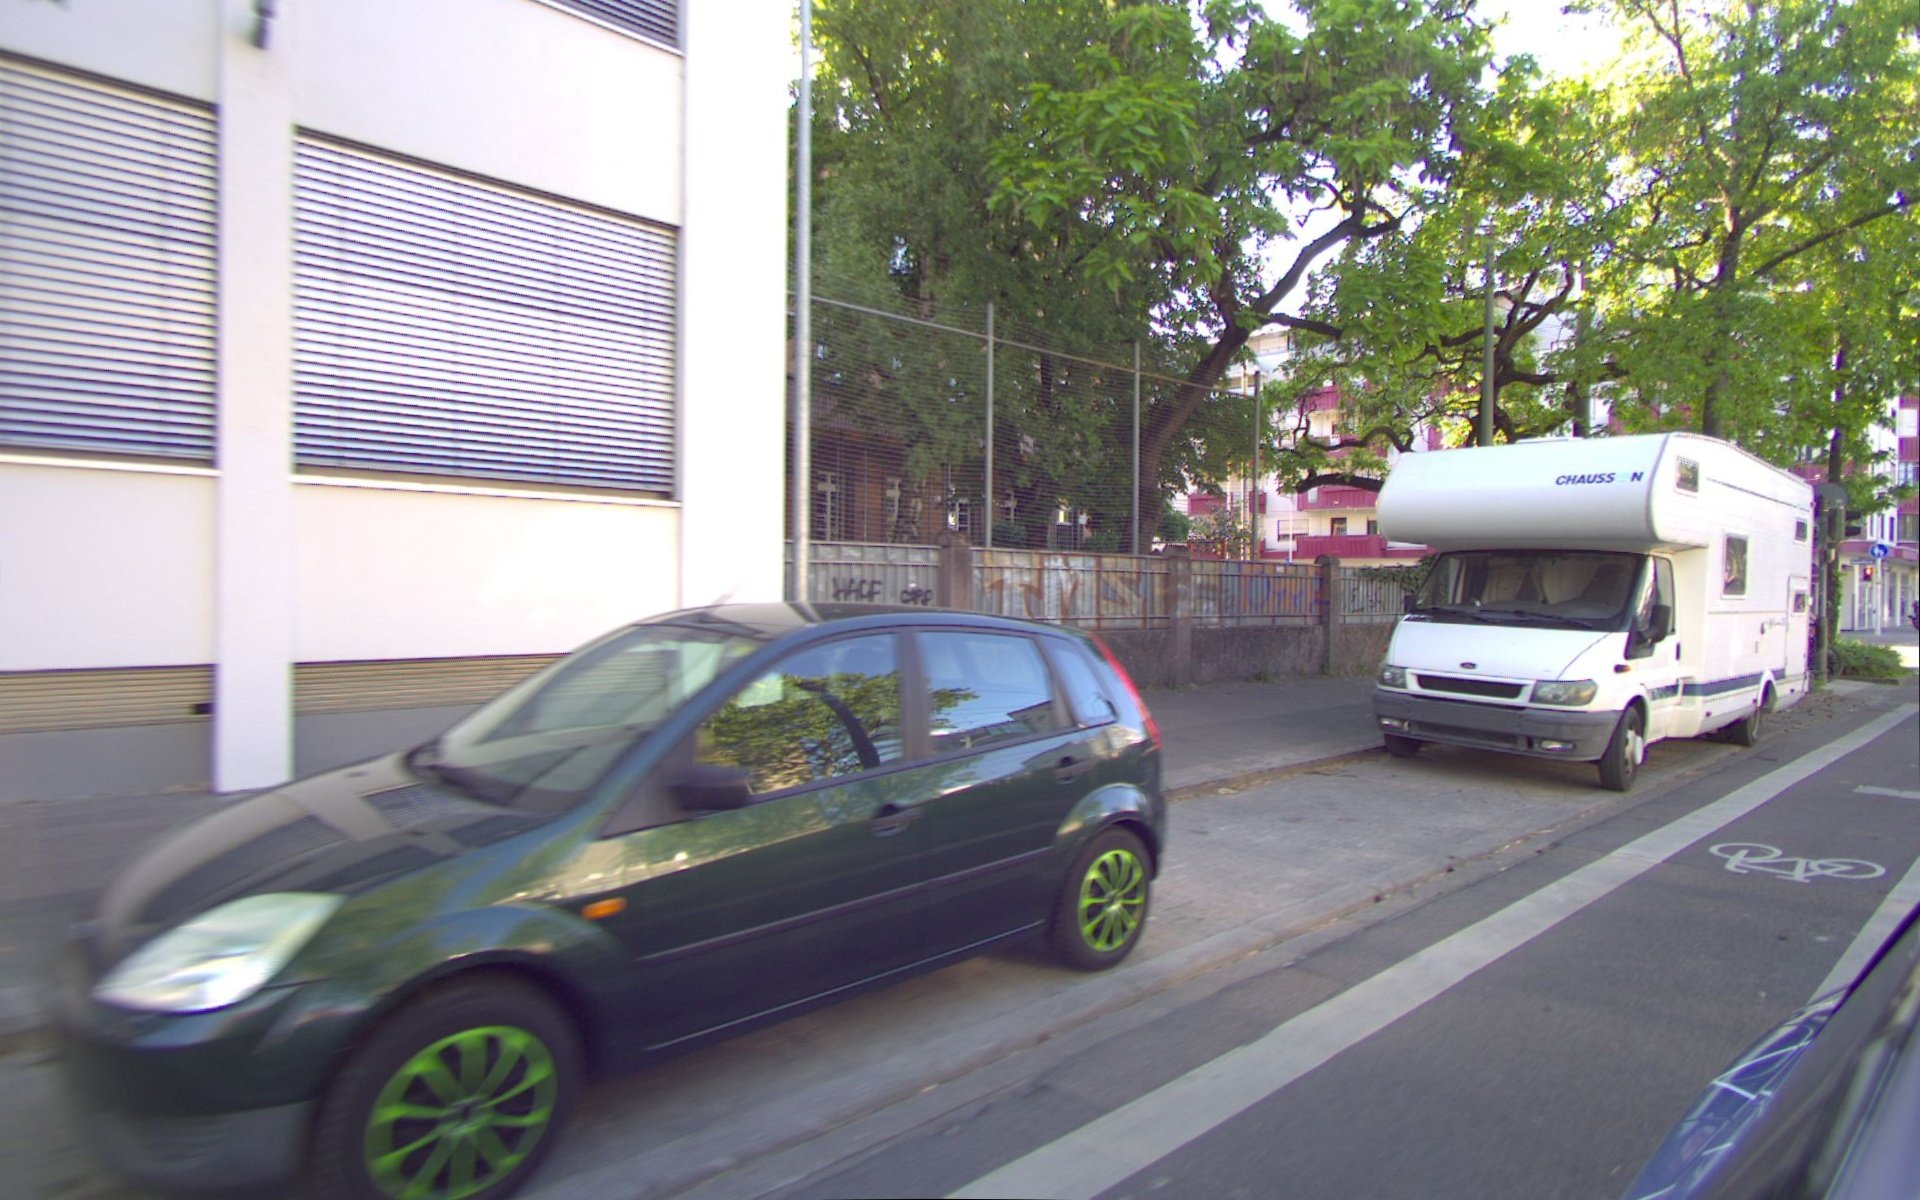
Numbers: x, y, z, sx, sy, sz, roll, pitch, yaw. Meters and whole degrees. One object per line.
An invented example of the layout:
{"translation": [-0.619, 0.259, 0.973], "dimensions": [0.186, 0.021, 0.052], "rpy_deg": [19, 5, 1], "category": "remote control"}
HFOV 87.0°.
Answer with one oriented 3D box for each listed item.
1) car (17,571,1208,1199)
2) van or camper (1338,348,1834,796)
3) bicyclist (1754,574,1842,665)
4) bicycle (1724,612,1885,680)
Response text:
{"translation": [-0.878, 0.664, 3.722], "dimensions": [3.736, 1.465, 1.654], "rpy_deg": [0, 2, -42], "category": "car"}
{"translation": [6.703, -0.243, 10.244], "dimensions": [7.162, 3.131, 2.172], "rpy_deg": [0, 2, -41], "category": "van or camper"}
{"translation": [14.972, 0.337, 18.116], "dimensions": [0.995, 1.596, 0.755], "rpy_deg": [0, 0, 19], "category": "bicyclist"}
{"translation": [15.040, 0.800, 18.085], "dimensions": [2.057, 1.142, 0.755], "rpy_deg": [0, 0, 20], "category": "bicycle"}
